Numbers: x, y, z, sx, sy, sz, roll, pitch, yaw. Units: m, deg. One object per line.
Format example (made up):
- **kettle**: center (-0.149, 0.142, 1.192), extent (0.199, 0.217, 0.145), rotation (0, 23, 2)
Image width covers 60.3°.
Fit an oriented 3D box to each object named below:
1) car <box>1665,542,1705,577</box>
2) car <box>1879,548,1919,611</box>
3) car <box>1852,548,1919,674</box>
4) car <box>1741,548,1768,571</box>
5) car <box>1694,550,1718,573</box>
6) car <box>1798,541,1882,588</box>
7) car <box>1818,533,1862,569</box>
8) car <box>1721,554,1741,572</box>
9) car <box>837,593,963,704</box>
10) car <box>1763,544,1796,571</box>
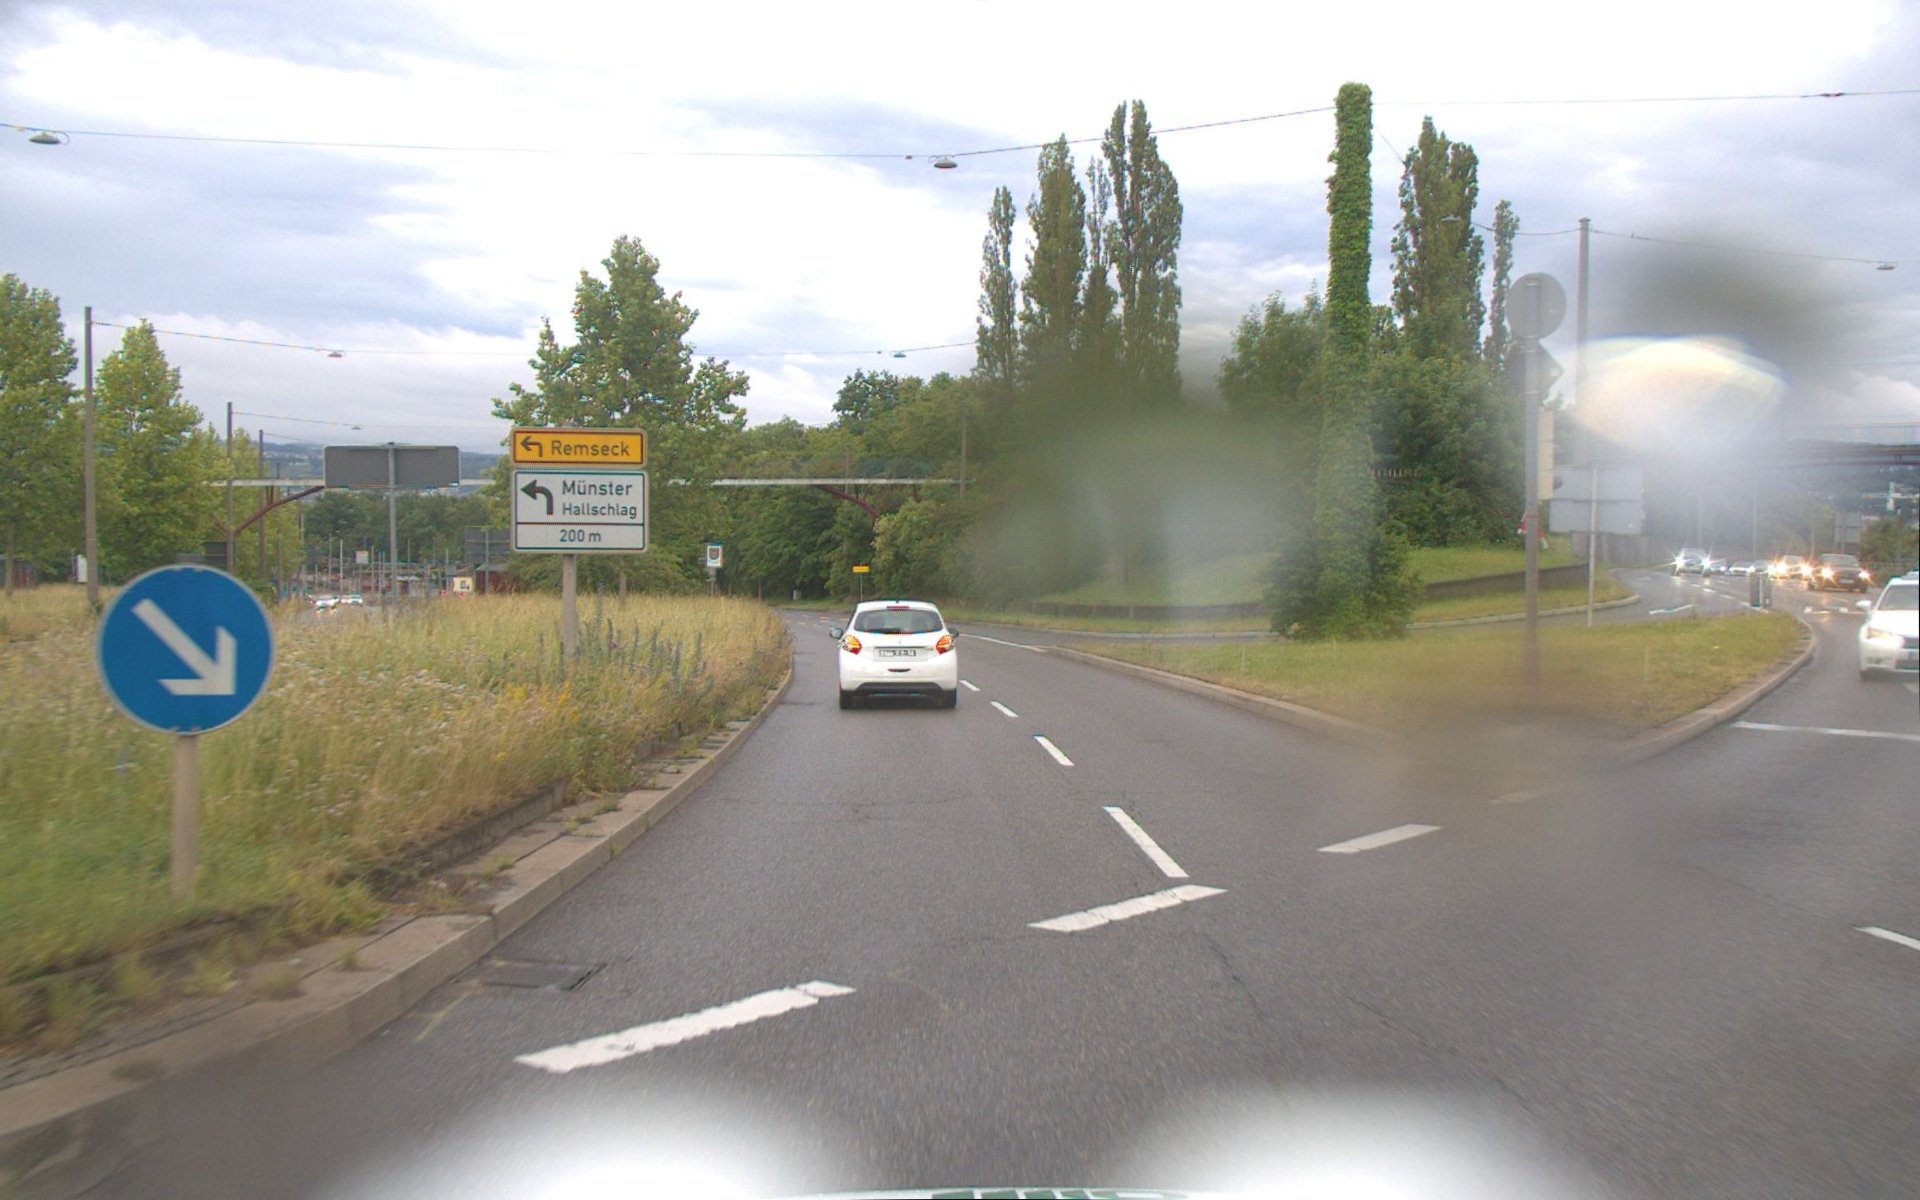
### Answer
- **car**: center (38.570, -2.162, 88.046), extent (1.840, 1.682, 4.126), rotation (2, 4, 22)
- **car**: center (28.371, -0.613, 48.510), extent (1.953, 1.645, 4.372), rotation (2, 4, 23)
- **car**: center (14.485, 0.126, 24.642), extent (1.957, 1.645, 3.994), rotation (3, 4, 30)
- **car**: center (60.389, -3.083, 125.812), extent (1.542, 1.623, 3.531), rotation (2, 4, 22)
- **car**: center (58.569, -3.062, 129.863), extent (1.542, 1.623, 3.531), rotation (2, 4, 22)
- **car**: center (34.914, -1.433, 65.736), extent (1.951, 1.645, 4.377), rotation (2, 4, 15)
- **car**: center (56.362, -3.155, 105.988), extent (2.032, 2.119, 4.372), rotation (2, 4, 22)
- **car**: center (67.590, -3.251, 145.048), extent (1.386, 1.393, 3.144), rotation (3, 4, 28)
- **car**: center (-0.868, 0.666, 24.158), extent (1.674, 1.465, 3.689), rotation (-1, 0, -2)
- **car**: center (52.485, -2.732, 105.997), extent (1.542, 1.623, 3.531), rotation (2, 4, 22)
